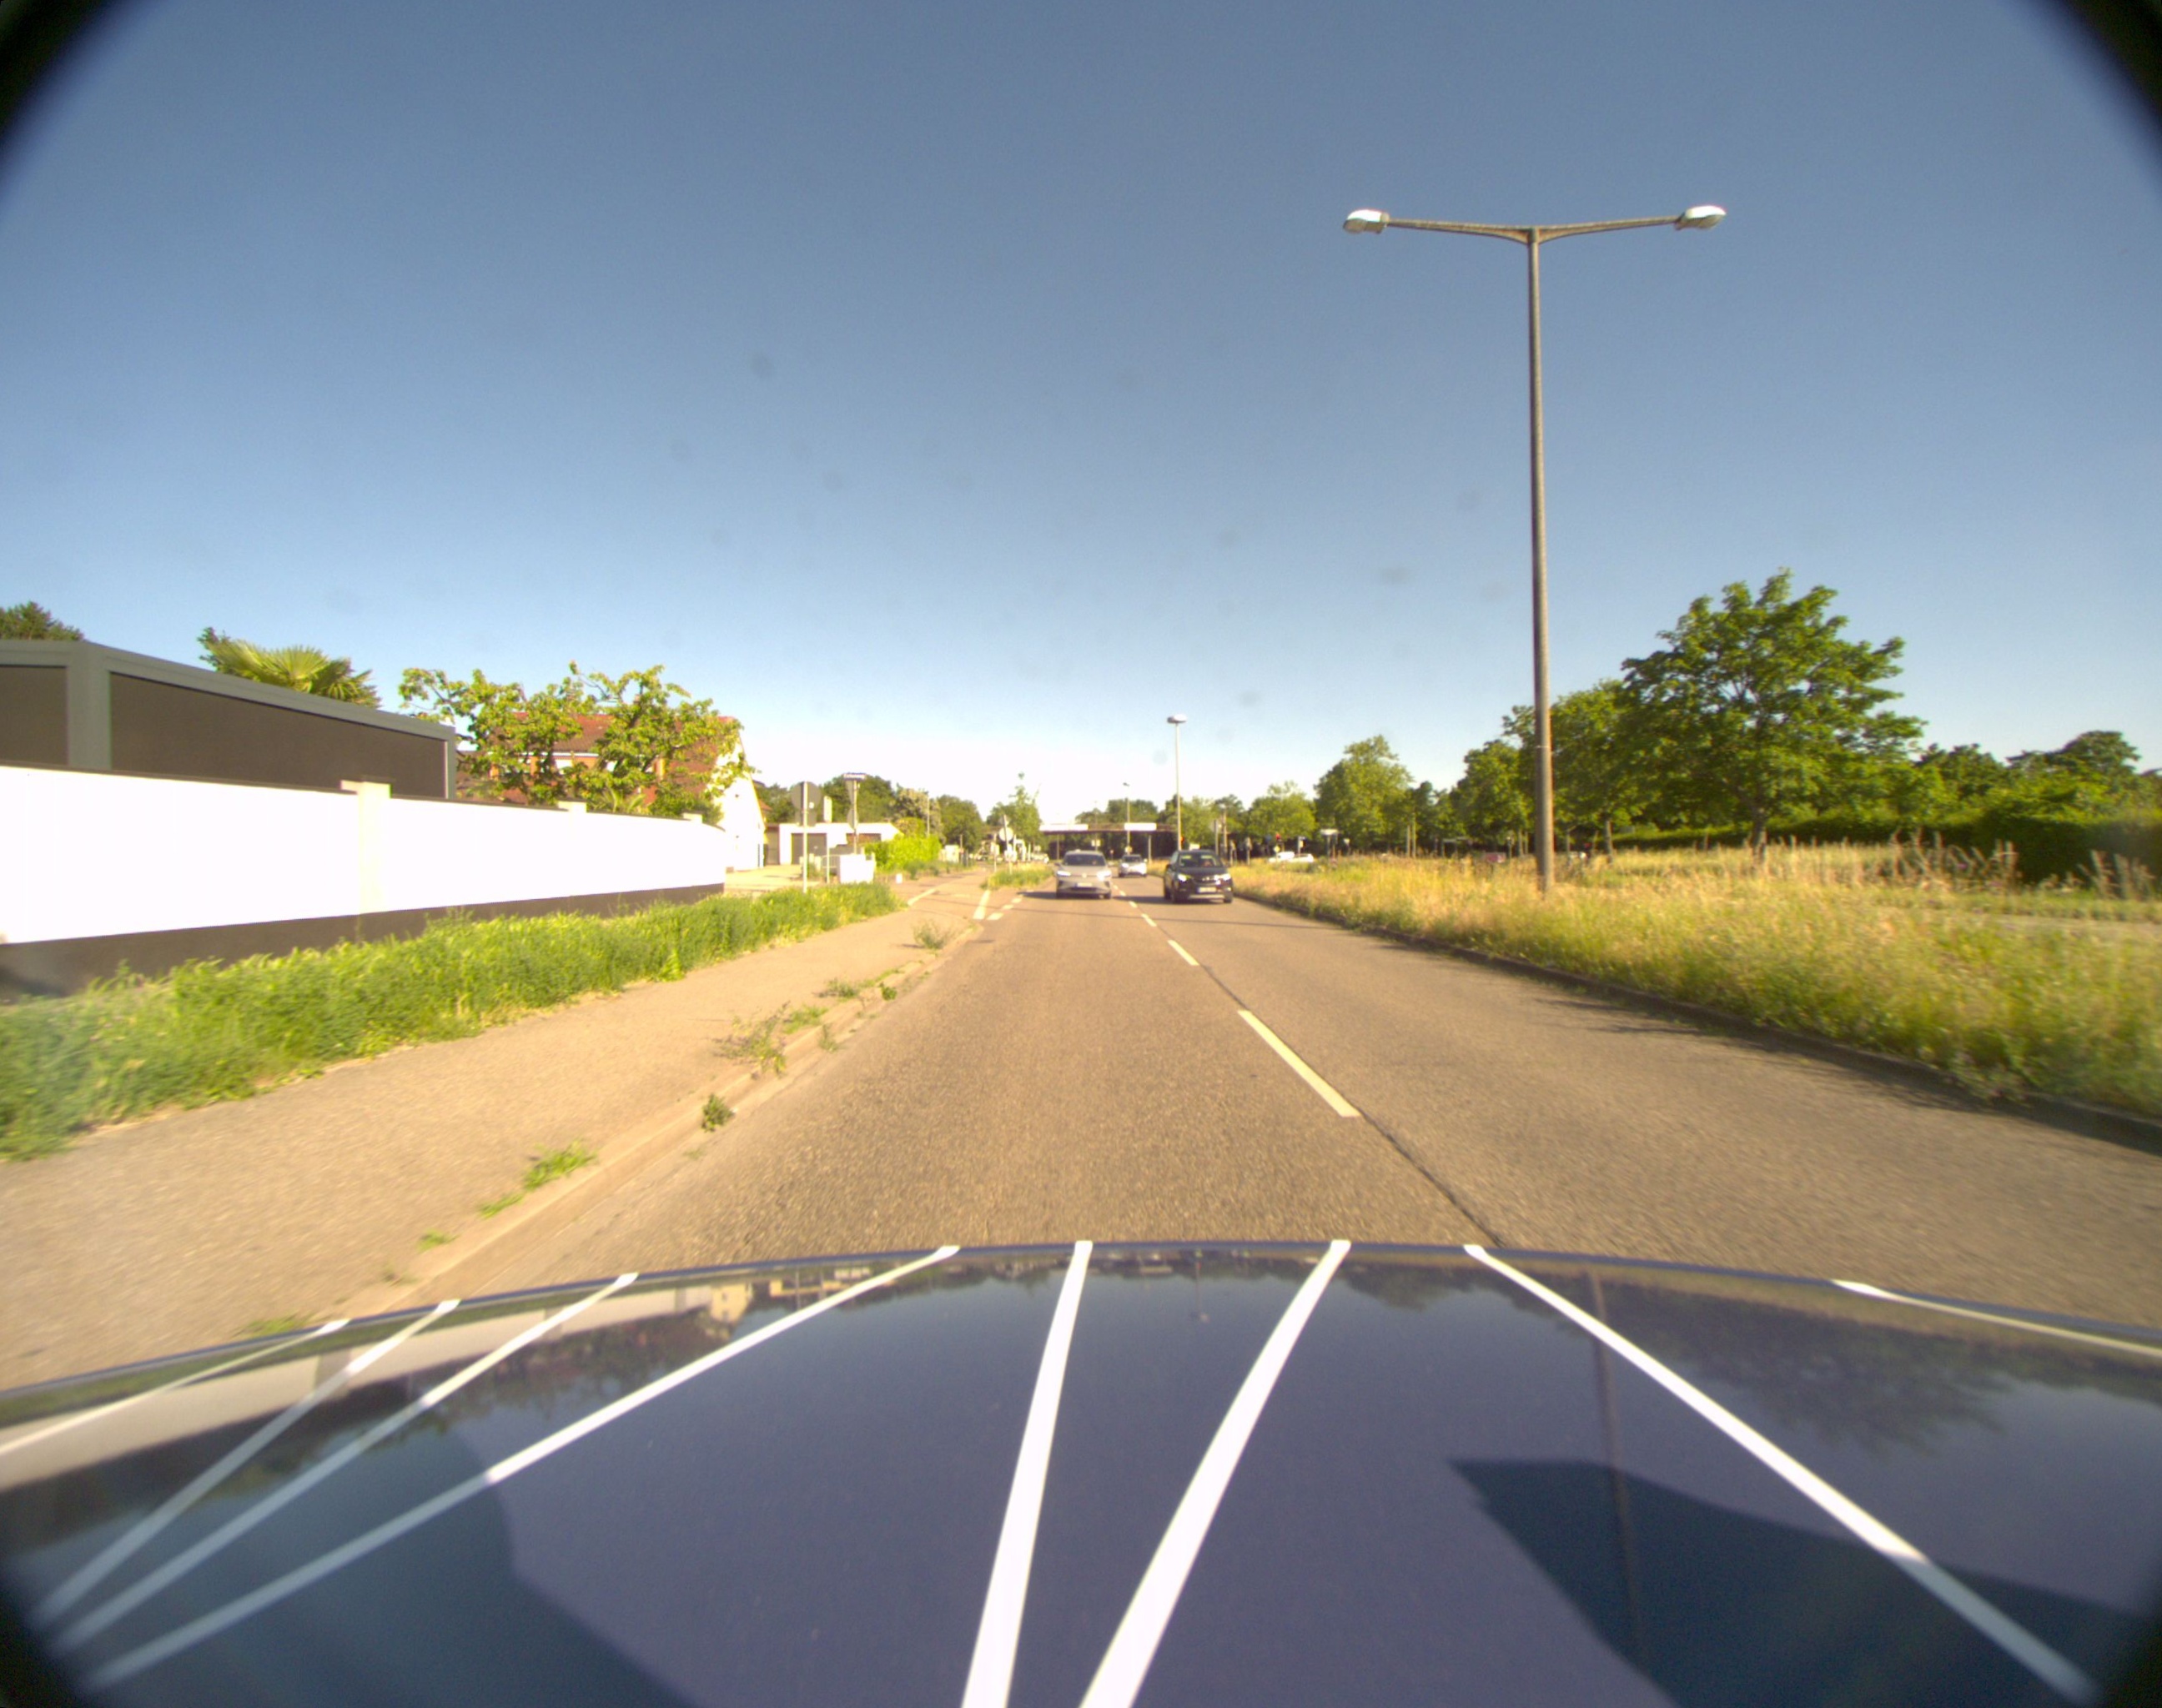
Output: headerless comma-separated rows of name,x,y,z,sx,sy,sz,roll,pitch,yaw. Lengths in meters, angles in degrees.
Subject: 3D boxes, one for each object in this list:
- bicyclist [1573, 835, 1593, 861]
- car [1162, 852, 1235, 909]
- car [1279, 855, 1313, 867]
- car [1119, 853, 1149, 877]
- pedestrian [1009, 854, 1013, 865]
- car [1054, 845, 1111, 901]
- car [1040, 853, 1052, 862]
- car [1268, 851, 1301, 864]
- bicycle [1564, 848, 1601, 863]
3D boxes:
bicyclist,24.639,-0.292,37.301,0.584,1.249,0.576,-1,0,-1
car,3.613,0.765,23.985,1.714,1.653,3.856,0,0,0
car,28.389,0.900,100.352,3.925,1.551,1.851,-1,0,-8
car,3.695,0.736,53.278,1.830,1.604,4.092,-1,0,0
pedestrian,-11.141,0.904,120.995,0.589,1.652,0.716,0,0,-9
car,0.121,0.602,26.981,1.801,1.665,4.238,2,2,2
car,-6.444,0.559,141.023,1.874,1.611,3.833,-1,0,-8
car,27.816,0.501,103.888,4.000,1.744,1.776,-1,0,-8
bicycle,24.616,0.066,37.359,0.566,0.691,1.875,-1,0,-1
